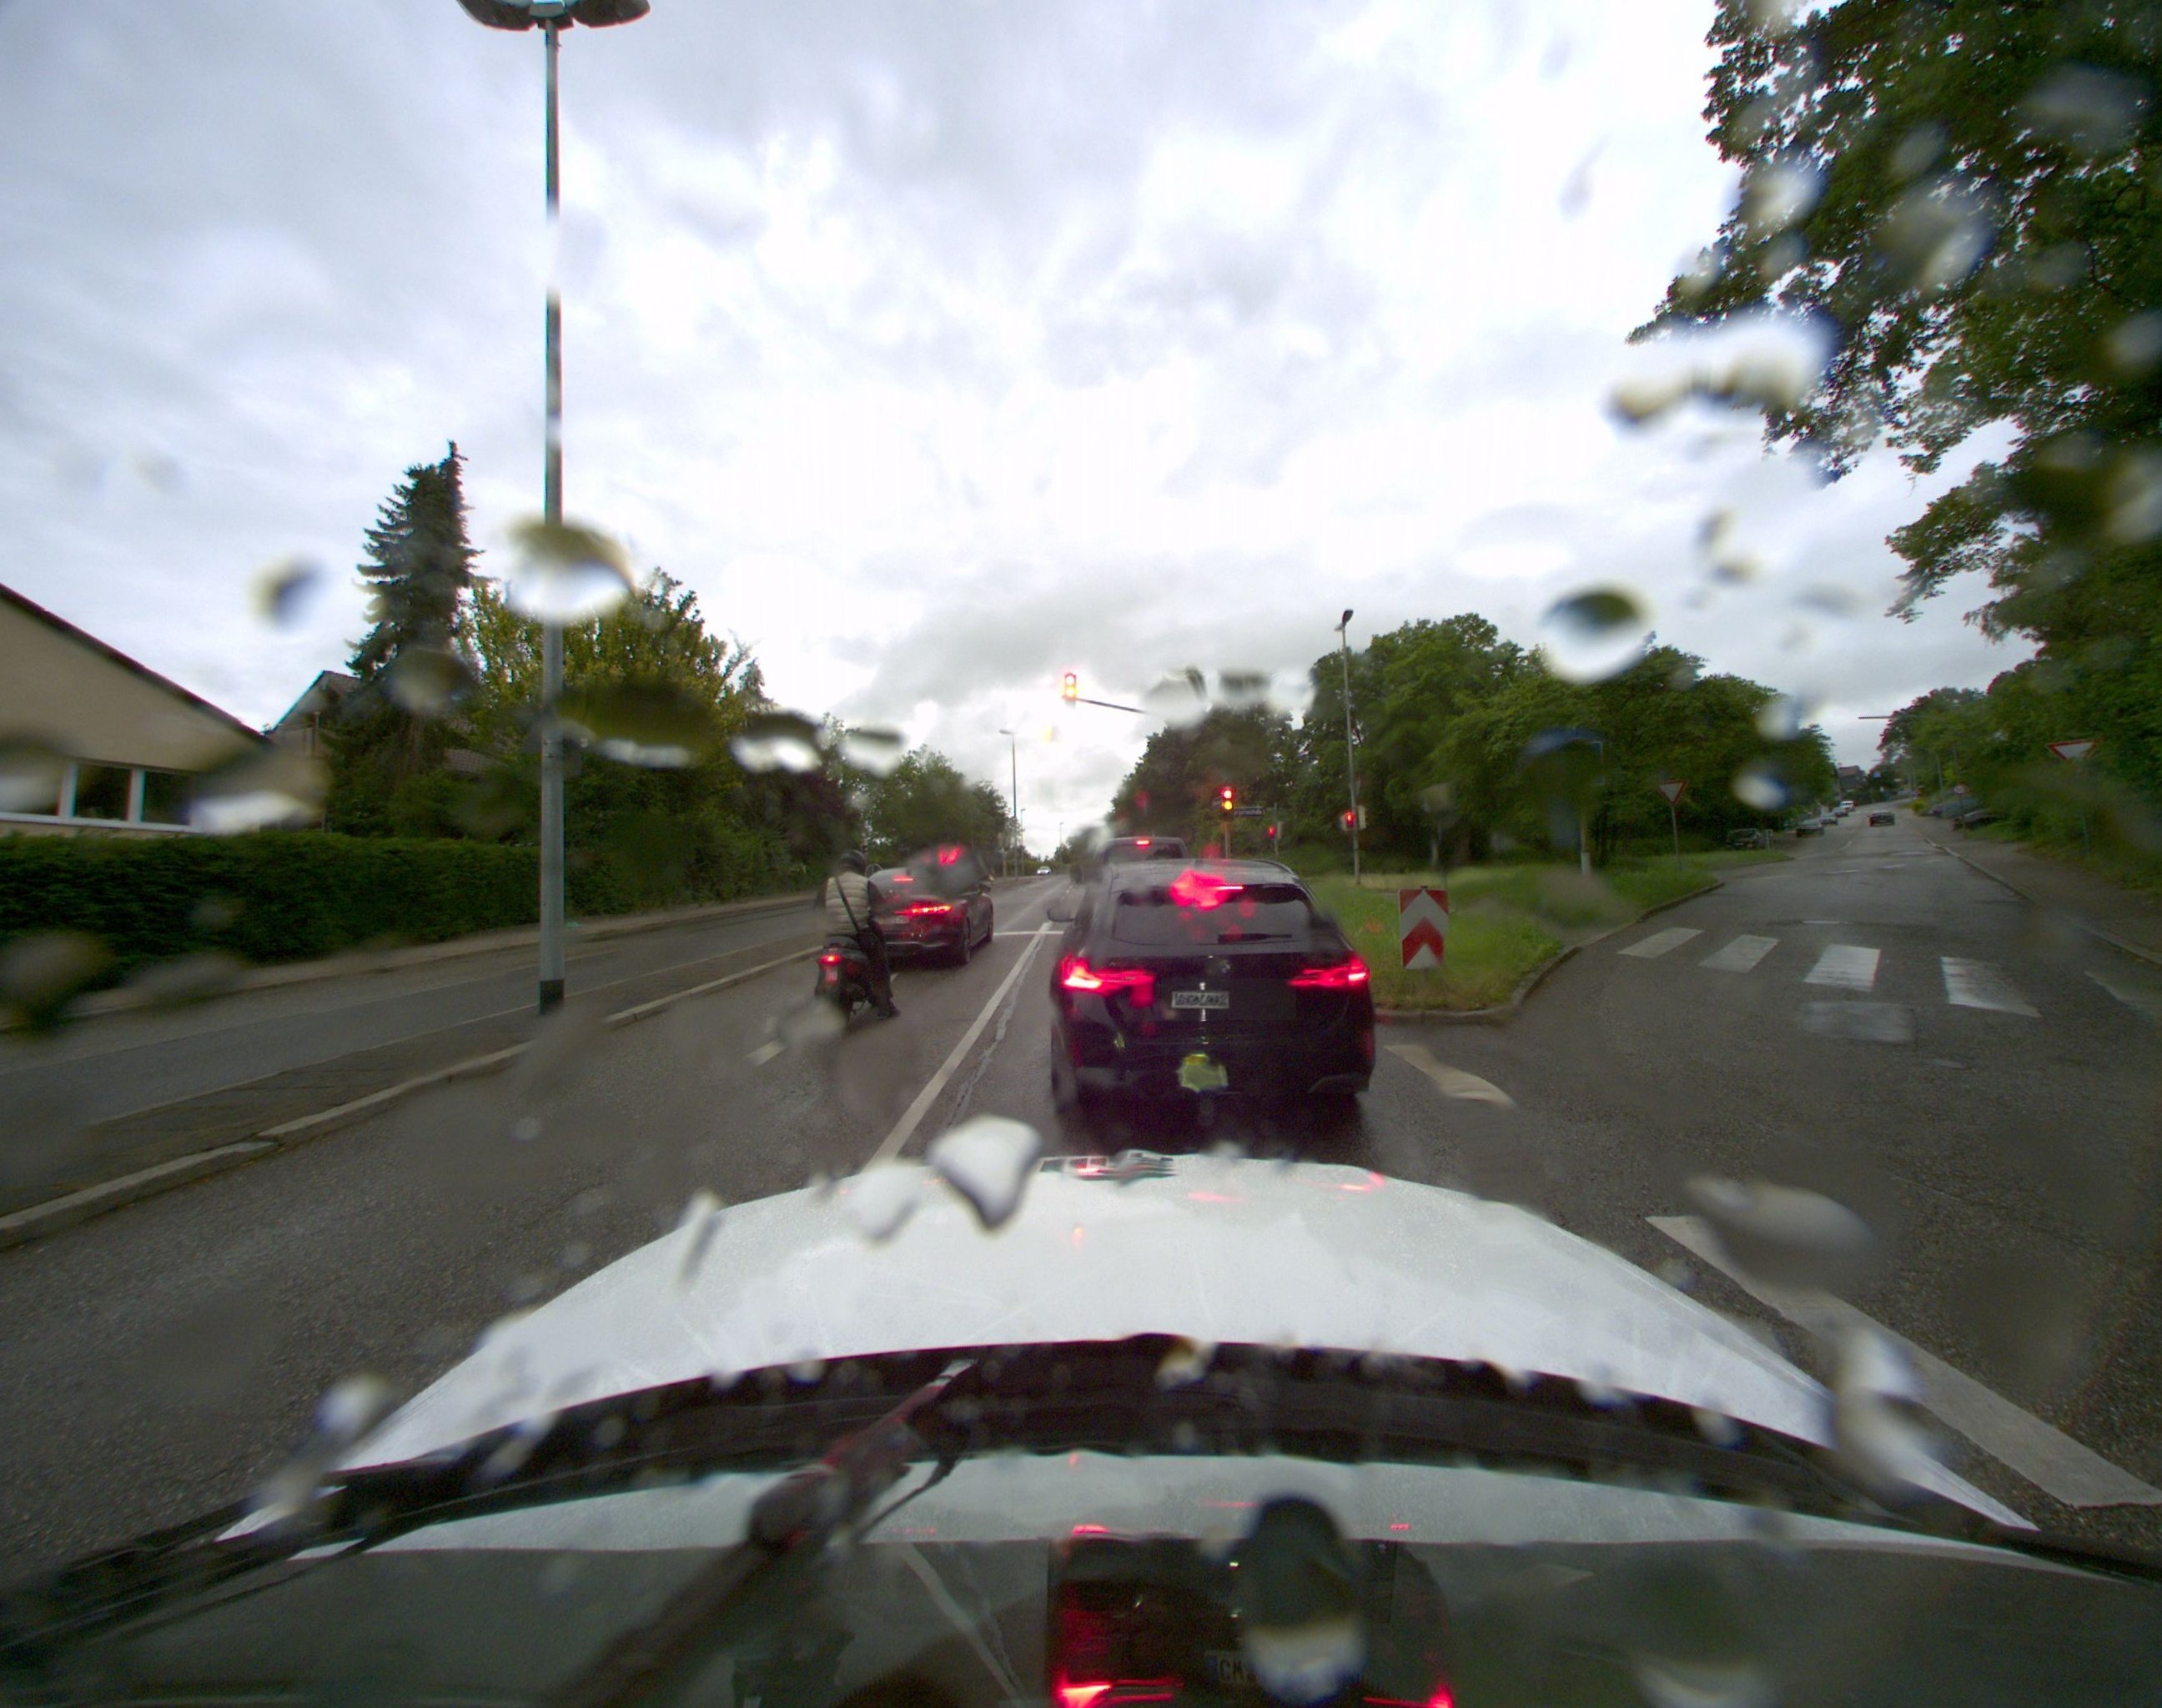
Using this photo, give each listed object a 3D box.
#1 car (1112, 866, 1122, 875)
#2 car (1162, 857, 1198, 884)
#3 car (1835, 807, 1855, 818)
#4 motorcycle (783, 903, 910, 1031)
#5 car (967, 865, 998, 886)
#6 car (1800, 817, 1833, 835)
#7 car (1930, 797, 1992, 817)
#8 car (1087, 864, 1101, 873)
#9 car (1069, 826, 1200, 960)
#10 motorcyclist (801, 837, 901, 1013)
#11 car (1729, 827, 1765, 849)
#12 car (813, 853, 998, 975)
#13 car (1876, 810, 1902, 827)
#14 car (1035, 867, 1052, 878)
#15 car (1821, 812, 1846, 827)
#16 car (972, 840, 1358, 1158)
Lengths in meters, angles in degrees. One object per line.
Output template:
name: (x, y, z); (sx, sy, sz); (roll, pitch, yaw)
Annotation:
car: (6.430, 2.952, 146.696); (1.691, 1.427, 3.515); (-4, -1, 2)
car: (6.334, 1.024, 52.410); (1.866, 1.543, 3.954); (-4, -1, 2)
car: (114.503, -6.208, 122.043); (1.880, 1.397, 4.193); (-2, -1, 40)
motorcycle: (-2.243, 1.043, 8.010); (0.688, 1.053, 1.748); (-1, -2, 2)
car: (-9.325, 2.043, 77.600); (1.984, 1.826, 4.006); (-4, -1, 6)
car: (66.278, -2.519, 73.388); (4.318, 1.450, 1.881); (0, -1, -44)
car: (87.618, -4.693, 81.162); (3.949, 1.574, 1.785); (-5, -1, 42)
car: (2.726, 3.007, 168.354); (2.094, 1.765, 4.879); (-4, -1, 9)
car: (0.836, 0.569, 13.454); (1.811, 1.868, 3.954); (-1, -1, 2)
motorcyclist: (-2.244, 0.673, 8.021); (0.762, 1.642, 0.674); (-1, -1, 1)
car: (46.025, -1.131, 56.271); (1.655, 1.370, 3.512); (-3, 0, 43)
car: (-2.598, 0.845, 13.226); (1.987, 1.527, 4.326); (-4, -1, 0)
car: (81.661, -3.607, 82.271); (4.187, 1.442, 1.795); (-4, 1, -44)
car: (-5.899, 2.936, 129.047); (1.982, 1.611, 3.680); (-4, -1, 9)
car: (88.210, -4.045, 95.518); (1.971, 1.446, 4.321); (-2, -1, 40)
car: (0.618, 0.767, 6.358); (1.889, 1.551, 4.621); (-1, -1, 5)
